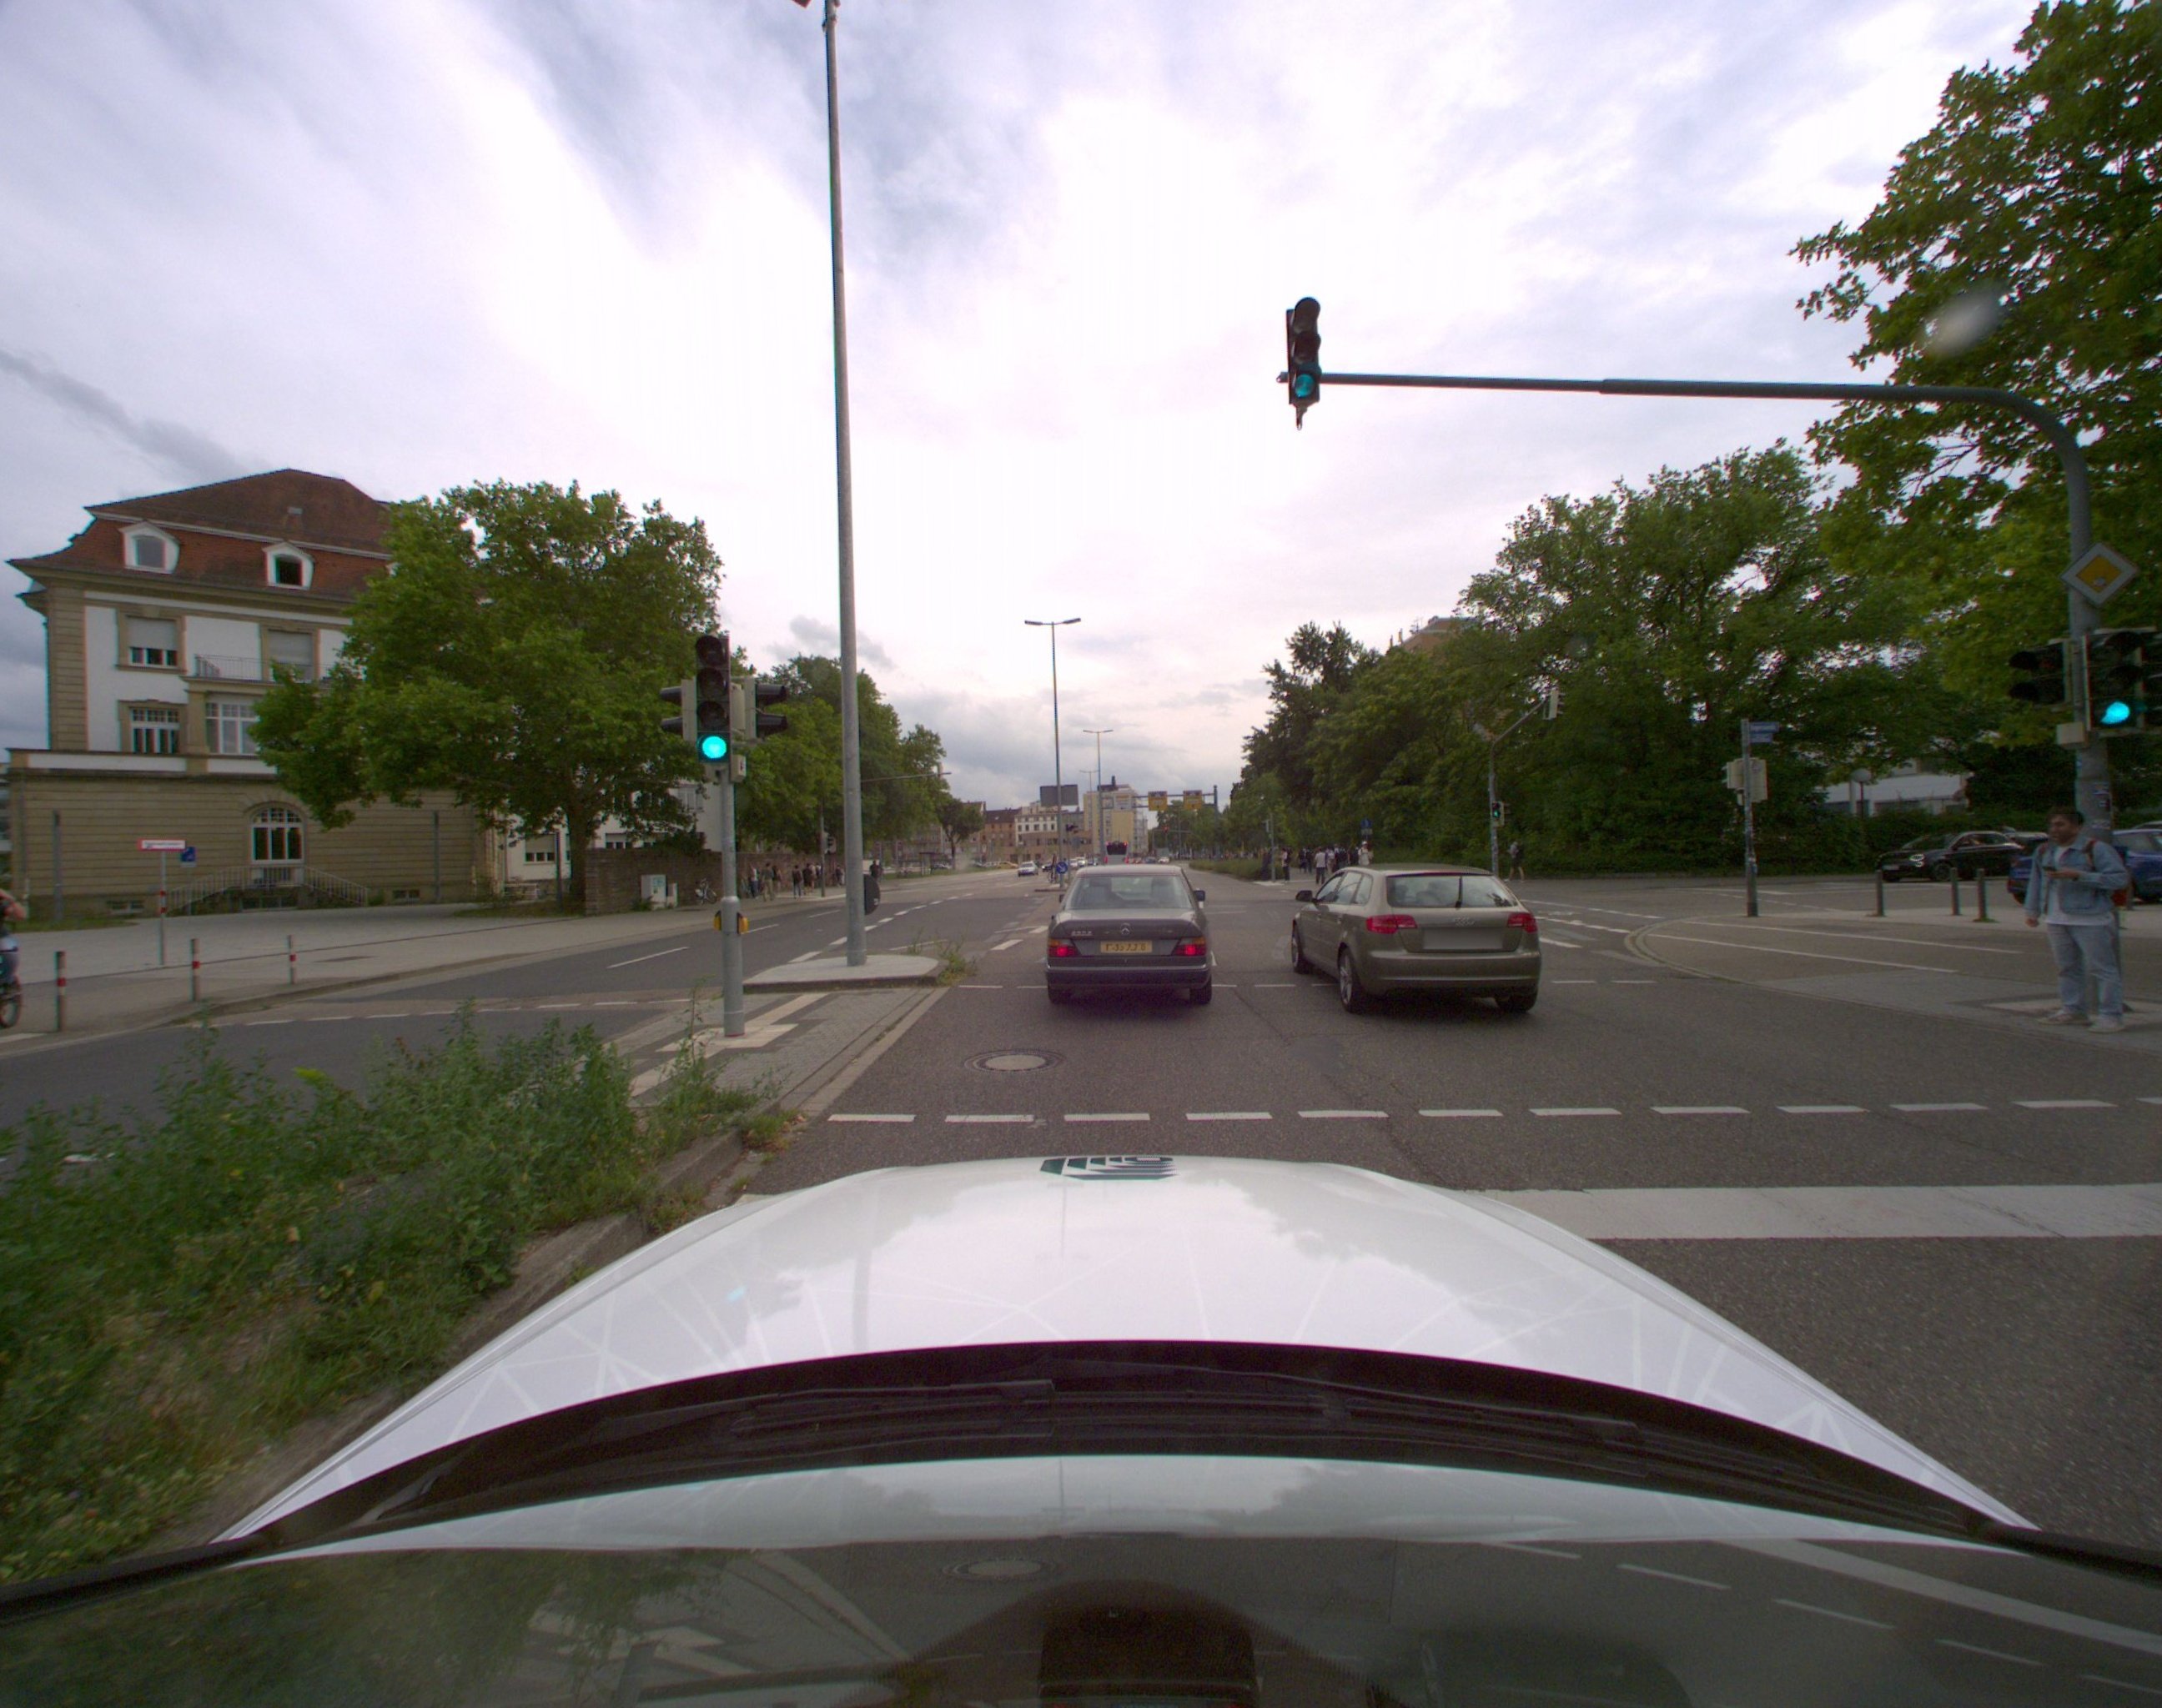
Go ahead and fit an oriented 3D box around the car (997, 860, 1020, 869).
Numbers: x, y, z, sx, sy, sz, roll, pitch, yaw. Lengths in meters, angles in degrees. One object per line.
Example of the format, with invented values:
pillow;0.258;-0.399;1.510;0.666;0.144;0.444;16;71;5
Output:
car;-12.631;1.872;142.041;3.845;1.517;1.660;-1;-1;-1

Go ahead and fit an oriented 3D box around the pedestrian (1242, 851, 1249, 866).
pedestrian;19.069;0.565;94.494;0.641;1.713;0.564;-3;-1;19

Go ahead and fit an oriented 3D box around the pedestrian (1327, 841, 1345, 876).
pedestrian;12.913;0.226;41.253;0.579;1.745;0.790;-2;-1;2

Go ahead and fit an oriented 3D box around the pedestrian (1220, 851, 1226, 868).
pedestrian;17.662;0.675;101.461;0.611;2.014;0.598;-2;-1;3

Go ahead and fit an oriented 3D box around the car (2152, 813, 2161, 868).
car;35.493;-0.504;24.472;4.265;1.692;1.684;-2;-1;1

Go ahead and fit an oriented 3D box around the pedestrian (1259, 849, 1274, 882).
pedestrian;9.716;0.594;42.742;0.599;1.735;0.655;-2;-1;2

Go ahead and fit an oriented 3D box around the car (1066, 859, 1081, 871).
car;-1.005;1.421;103.814;1.796;1.489;4.286;-2;0;-1

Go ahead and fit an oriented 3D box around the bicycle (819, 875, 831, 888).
bicycle;-17.774;1.903;56.534;0.440;0.797;1.618;0;0;-5

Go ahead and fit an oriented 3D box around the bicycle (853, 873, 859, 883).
bicycle;-20.688;2.202;74.979;0.416;0.878;1.548;1;-1;-13

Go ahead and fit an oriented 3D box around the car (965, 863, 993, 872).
car;-17.829;2.273;141.813;4.655;1.475;1.660;-1;-1;-1

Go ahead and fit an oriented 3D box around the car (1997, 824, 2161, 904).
car;21.209;0.166;16.400;3.559;1.492;1.674;-2;-1;0

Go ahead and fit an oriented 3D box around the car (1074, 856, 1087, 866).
car;-0.049;1.113;125.172;1.794;1.511;4.108;-2;-1;4

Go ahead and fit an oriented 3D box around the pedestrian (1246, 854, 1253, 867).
pedestrian;18.784;0.709;90.933;0.654;1.470;0.562;-2;-1;1

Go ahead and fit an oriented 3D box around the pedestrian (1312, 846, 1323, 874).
pedestrian;15.124;0.355;52.098;0.482;1.763;0.665;-2;-1;5

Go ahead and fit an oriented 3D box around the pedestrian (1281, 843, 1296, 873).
pedestrian;12.958;0.244;50.980;0.689;1.821;0.955;-2;-1;5

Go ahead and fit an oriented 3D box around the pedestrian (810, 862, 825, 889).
pedestrian;-16.718;1.386;51.729;0.762;1.671;0.917;-2;-1;-24

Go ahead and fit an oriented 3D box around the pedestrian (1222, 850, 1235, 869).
pedestrian;14.839;0.538;82.022;0.925;1.830;0.892;-3;-1;32

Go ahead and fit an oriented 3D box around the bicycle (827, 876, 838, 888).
bicycle;-17.951;2.023;58.790;0.440;0.797;1.618;0;0;-5

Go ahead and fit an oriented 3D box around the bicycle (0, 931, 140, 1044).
bicycle;-12.284;1.543;9.355;1.892;1.170;0.604;-2;-1;-14

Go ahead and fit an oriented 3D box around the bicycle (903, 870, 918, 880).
bicycle;-16.664;2.060;79.654;0.467;0.918;2.347;-2;0;12

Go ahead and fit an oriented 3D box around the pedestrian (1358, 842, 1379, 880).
pedestrian;13.758;0.339;38.978;0.654;1.745;0.780;-2;-1;2

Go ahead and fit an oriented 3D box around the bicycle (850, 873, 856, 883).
bicycle;-19.353;2.035;69.068;0.441;0.827;1.613;1;-1;-13

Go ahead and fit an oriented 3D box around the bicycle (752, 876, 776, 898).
bicycle;-16.635;1.721;42.784;0.547;1.058;1.979;1;0;-2

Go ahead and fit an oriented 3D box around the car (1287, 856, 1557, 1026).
car;3.475;0.779;9.061;1.716;1.457;3.742;-2;0;6

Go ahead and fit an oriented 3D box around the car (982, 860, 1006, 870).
car;-15.548;1.965;146.049;4.143;1.649;1.646;-2;-1;-2

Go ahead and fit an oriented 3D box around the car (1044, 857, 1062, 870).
car;-3.621;1.242;106.983;1.889;1.616;4.747;-2;0;2

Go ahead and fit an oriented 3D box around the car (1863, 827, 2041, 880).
car;26.687;0.004;25.036;3.557;1.442;1.684;-2;-1;1

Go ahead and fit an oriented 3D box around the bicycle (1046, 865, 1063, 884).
bicycle;-1.518;1.175;46.983;0.570;1.055;1.931;-2;0;8

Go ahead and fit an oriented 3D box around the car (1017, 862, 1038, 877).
car;-5.546;1.581;85.241;1.754;1.489;4.547;-2;0;2

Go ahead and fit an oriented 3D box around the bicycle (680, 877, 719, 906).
bicycle;-16.130;1.575;34.479;0.575;1.126;2.165;1;0;0

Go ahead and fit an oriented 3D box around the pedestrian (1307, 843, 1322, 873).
pedestrian;14.193;0.244;49.567;0.653;1.821;0.813;-2;-1;5

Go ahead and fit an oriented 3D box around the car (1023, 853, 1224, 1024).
car;0.526;0.771;9.422;1.753;1.489;4.175;-2;0;4
